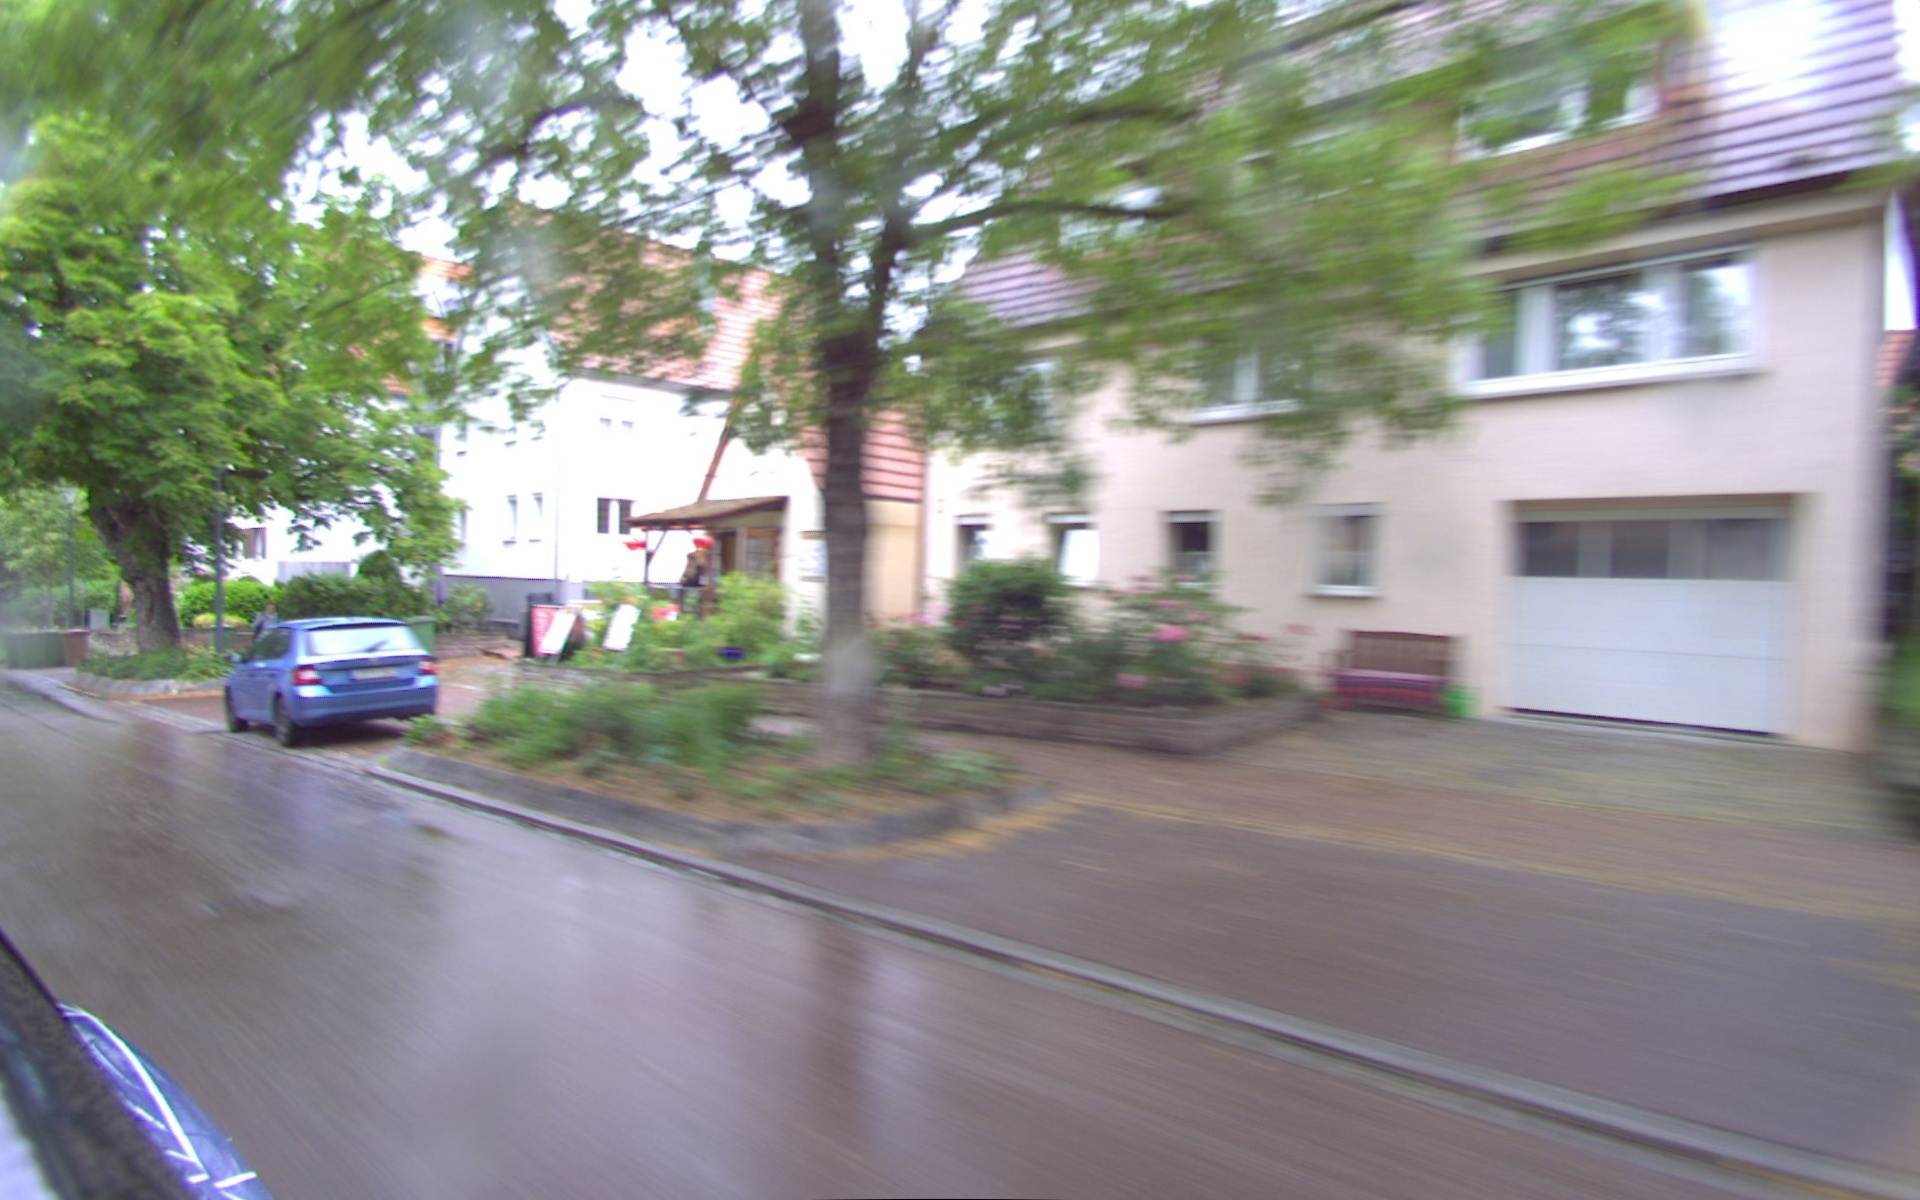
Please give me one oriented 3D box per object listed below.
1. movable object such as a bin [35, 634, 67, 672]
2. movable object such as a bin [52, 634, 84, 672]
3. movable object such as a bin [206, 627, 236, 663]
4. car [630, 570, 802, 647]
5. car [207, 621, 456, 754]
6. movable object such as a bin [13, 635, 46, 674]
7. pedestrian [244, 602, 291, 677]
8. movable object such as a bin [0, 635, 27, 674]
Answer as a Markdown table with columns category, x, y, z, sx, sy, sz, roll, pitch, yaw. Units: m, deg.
| category | x | y | z | sx | sy | sz | roll | pitch | yaw |
| --- | --- | --- | --- | --- | --- | --- | --- | --- | --- |
| movable object such as a bin | -26.660 | 1.543 | 29.686 | 0.655 | 1.082 | 0.596 | 1 | -1 | -45 |
| movable object such as a bin | -25.944 | 1.541 | 29.445 | 0.655 | 1.082 | 0.596 | 1 | -1 | -45 |
| movable object such as a bin | -23.653 | 1.430 | 32.381 | 0.659 | 1.141 | 0.655 | -1 | -1 | 43 |
| car | -5.983 | 0.136 | 25.114 | 1.891 | 1.507 | 3.670 | 2 | 6 | 43 |
| car | -8.113 | 0.992 | 12.944 | 3.795 | 1.406 | 1.731 | -1 | -1 | 42 |
| movable object such as a bin | -26.520 | 1.546 | 28.850 | 0.655 | 1.075 | 0.596 | 1 | -1 | -45 |
| pedestrian | -15.229 | 0.849 | 22.268 | 0.932 | 1.606 | 0.643 | -1 | -1 | 41 |
| movable object such as a bin | -27.249 | 1.546 | 29.052 | 0.655 | 1.082 | 0.596 | 1 | -1 | -45 |
